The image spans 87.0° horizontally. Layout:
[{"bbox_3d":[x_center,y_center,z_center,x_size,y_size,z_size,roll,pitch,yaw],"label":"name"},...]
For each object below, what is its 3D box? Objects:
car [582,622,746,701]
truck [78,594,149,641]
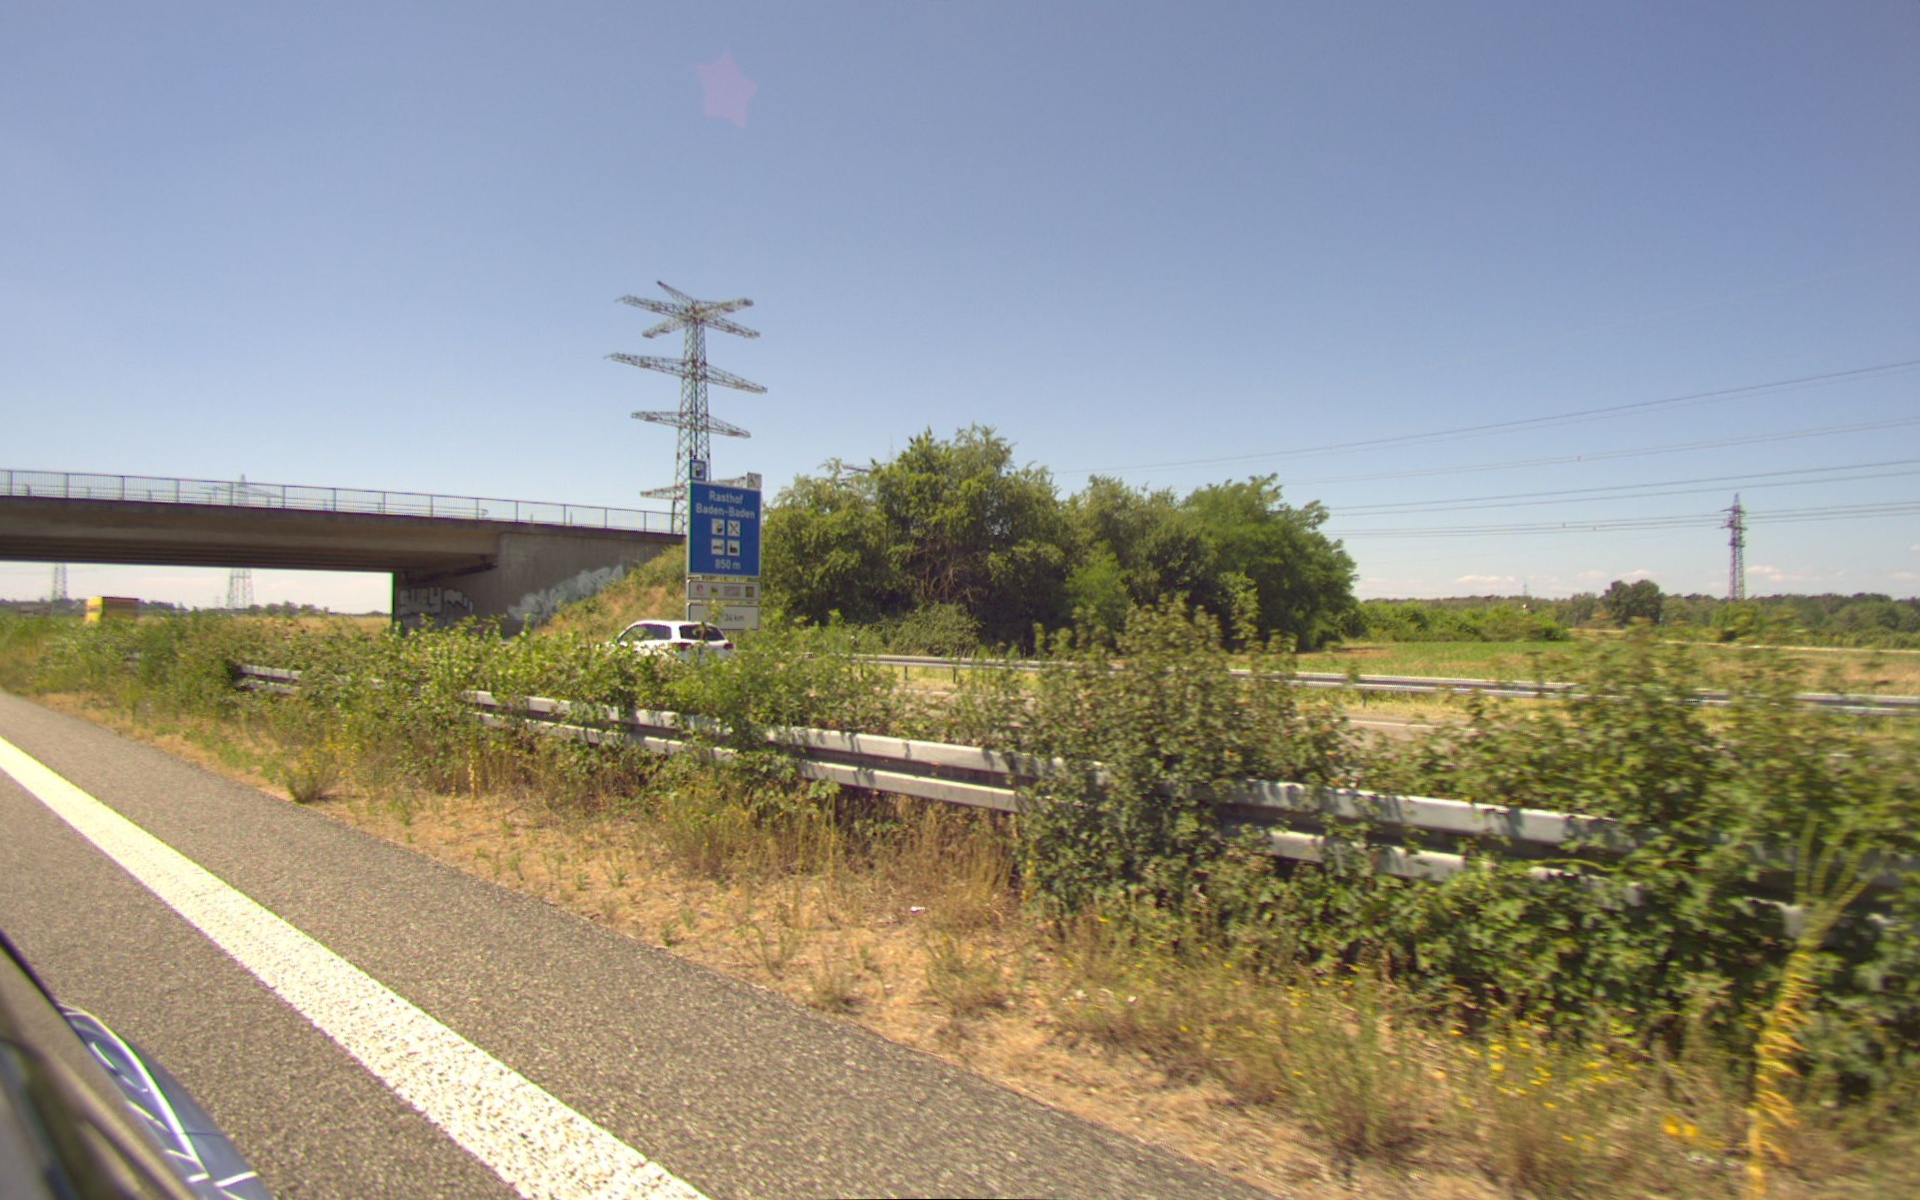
[{"bbox_3d":[-7.004,1.385,23.767,4.010,1.664,1.822,-2,-1,41],"label":"car"},{"bbox_3d":[-73.296,1.521,87.557,8.658,3.892,3.475,-1,-1,42],"label":"truck"}]
